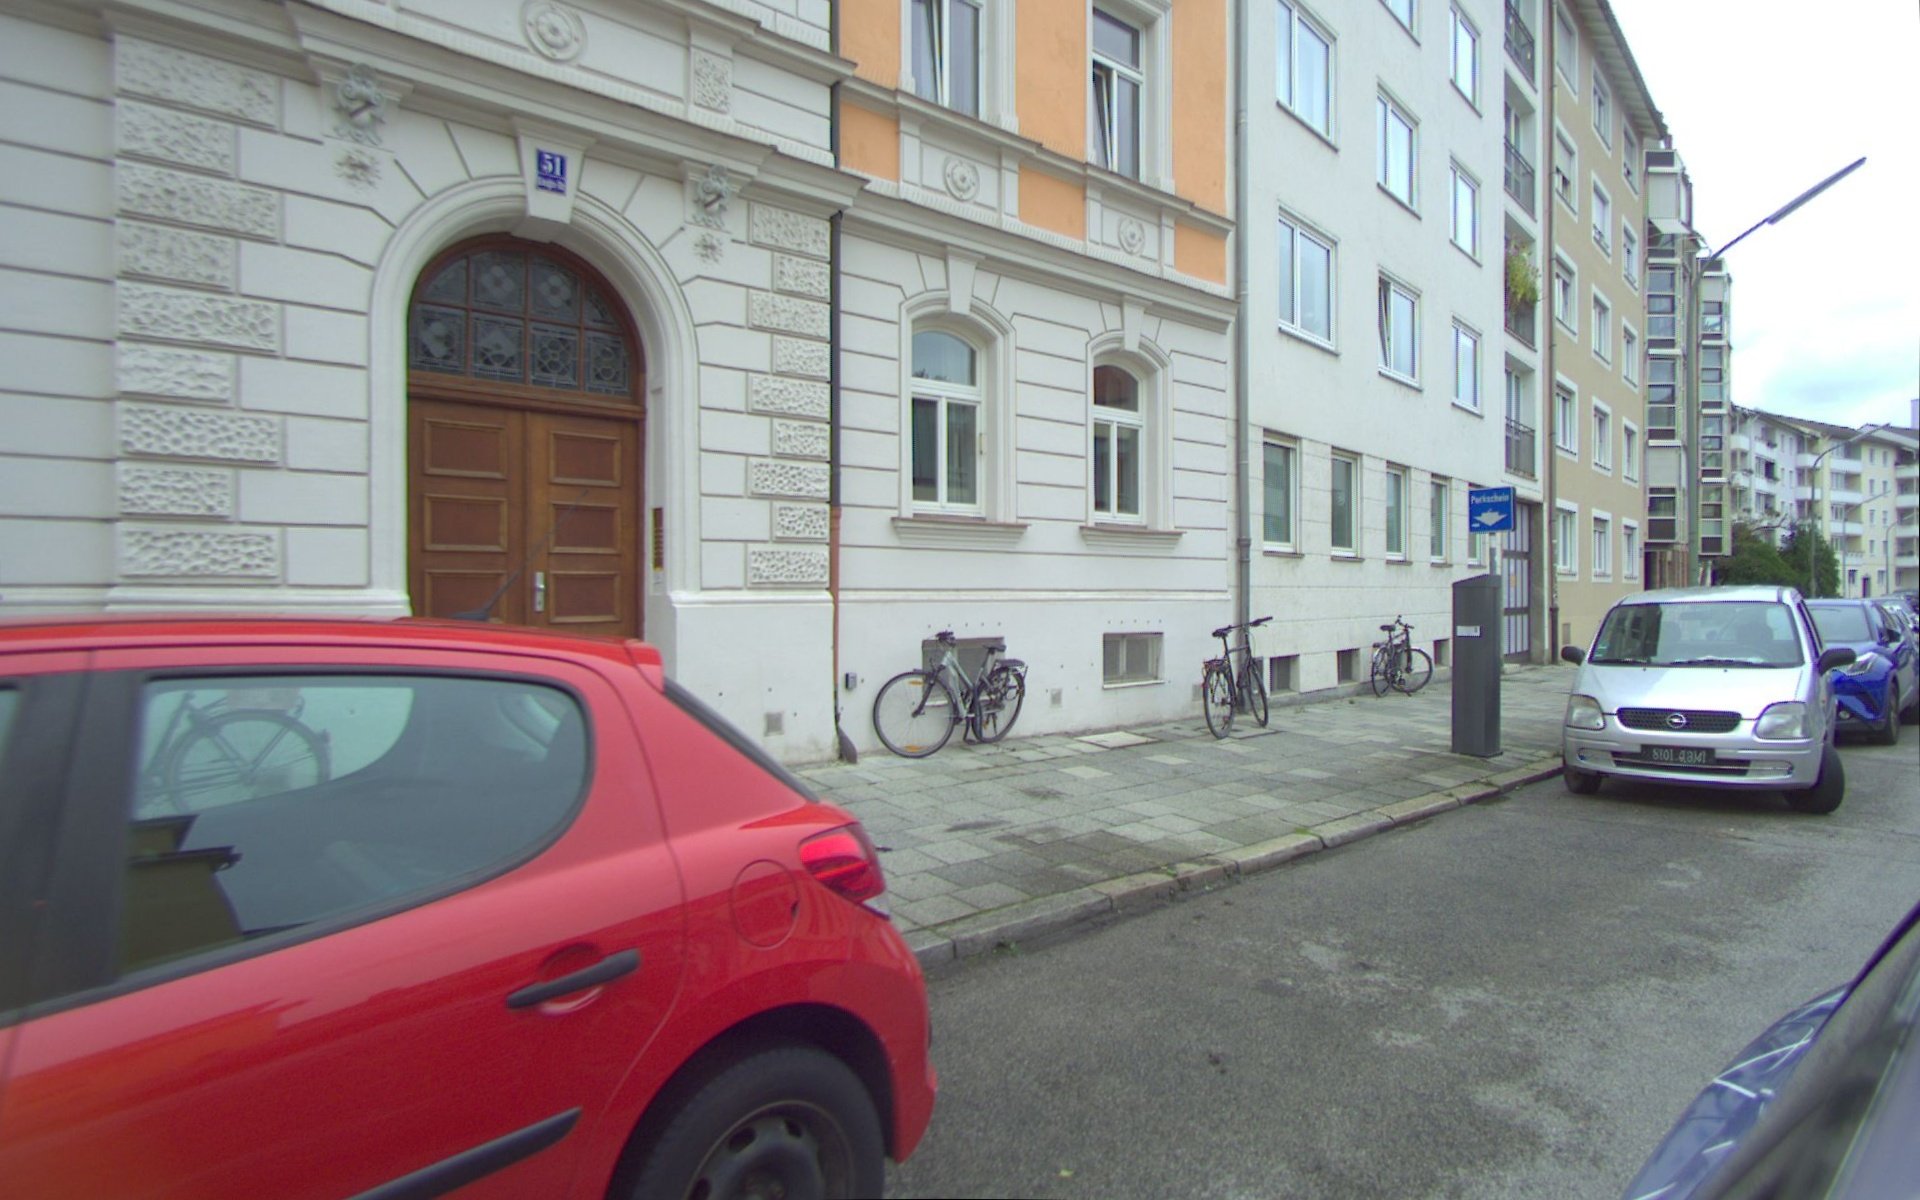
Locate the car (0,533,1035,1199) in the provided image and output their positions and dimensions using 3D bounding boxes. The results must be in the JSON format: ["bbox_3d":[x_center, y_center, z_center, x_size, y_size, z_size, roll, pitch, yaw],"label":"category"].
[{"bbox_3d":[-1.899,0.705,1.616,4.077,1.519,1.689,0,-2,-43],"label":"car"}]

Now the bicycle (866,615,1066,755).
[{"bbox_3d":[0.087,0.667,8.653,1.787,1.037,0.596,0,1,-43],"label":"bicycle"}]

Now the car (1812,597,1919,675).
[{"bbox_3d":[19.549,0.682,21.487,1.954,1.432,5.033,0,0,43],"label":"car"}]

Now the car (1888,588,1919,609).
[{"bbox_3d":[69.651,-0.125,74.271,3.930,1.494,1.822,0,0,-41],"label":"car"}]

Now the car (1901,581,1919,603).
[{"bbox_3d":[73.388,-0.595,77.021,3.927,1.616,1.998,-1,0,-38],"label":"car"}]

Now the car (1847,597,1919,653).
[{"bbox_3d":[26.899,0.693,29.203,1.754,1.383,4.711,-6,-3,40],"label":"car"}]

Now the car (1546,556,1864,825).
[{"bbox_3d":[6.259,0.573,8.334,1.680,1.695,3.746,-2,-1,42],"label":"car"}]

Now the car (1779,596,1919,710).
[{"bbox_3d":[13.538,0.704,15.070,1.705,1.473,4.333,-4,-2,43],"label":"car"}]

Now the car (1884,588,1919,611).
[{"bbox_3d":[65.943,-0.033,70.887,1.750,1.511,3.938,0,0,43],"label":"car"}]

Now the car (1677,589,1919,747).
[{"bbox_3d":[10.113,0.635,11.830,4.467,1.513,1.746,0,0,-40],"label":"car"}]

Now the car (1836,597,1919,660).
[{"bbox_3d":[23.230,0.643,25.322,1.853,1.432,4.937,0,0,42],"label":"car"}]

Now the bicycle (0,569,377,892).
[{"bbox_3d":[-4.055,0.560,4.894,2.057,1.402,0.596,0,1,-43],"label":"bicycle"}]

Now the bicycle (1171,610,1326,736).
[{"bbox_3d":[2.964,0.681,10.261,0.722,1.126,1.964,0,0,42],"label":"bicycle"}]

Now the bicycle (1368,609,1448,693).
[{"bbox_3d":[6.416,0.689,14.439,0.528,1.085,1.971,0,0,40],"label":"bicycle"}]

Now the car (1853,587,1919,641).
[{"bbox_3d":[30.514,0.406,32.979,1.874,1.666,4.579,0,0,39],"label":"car"}]
